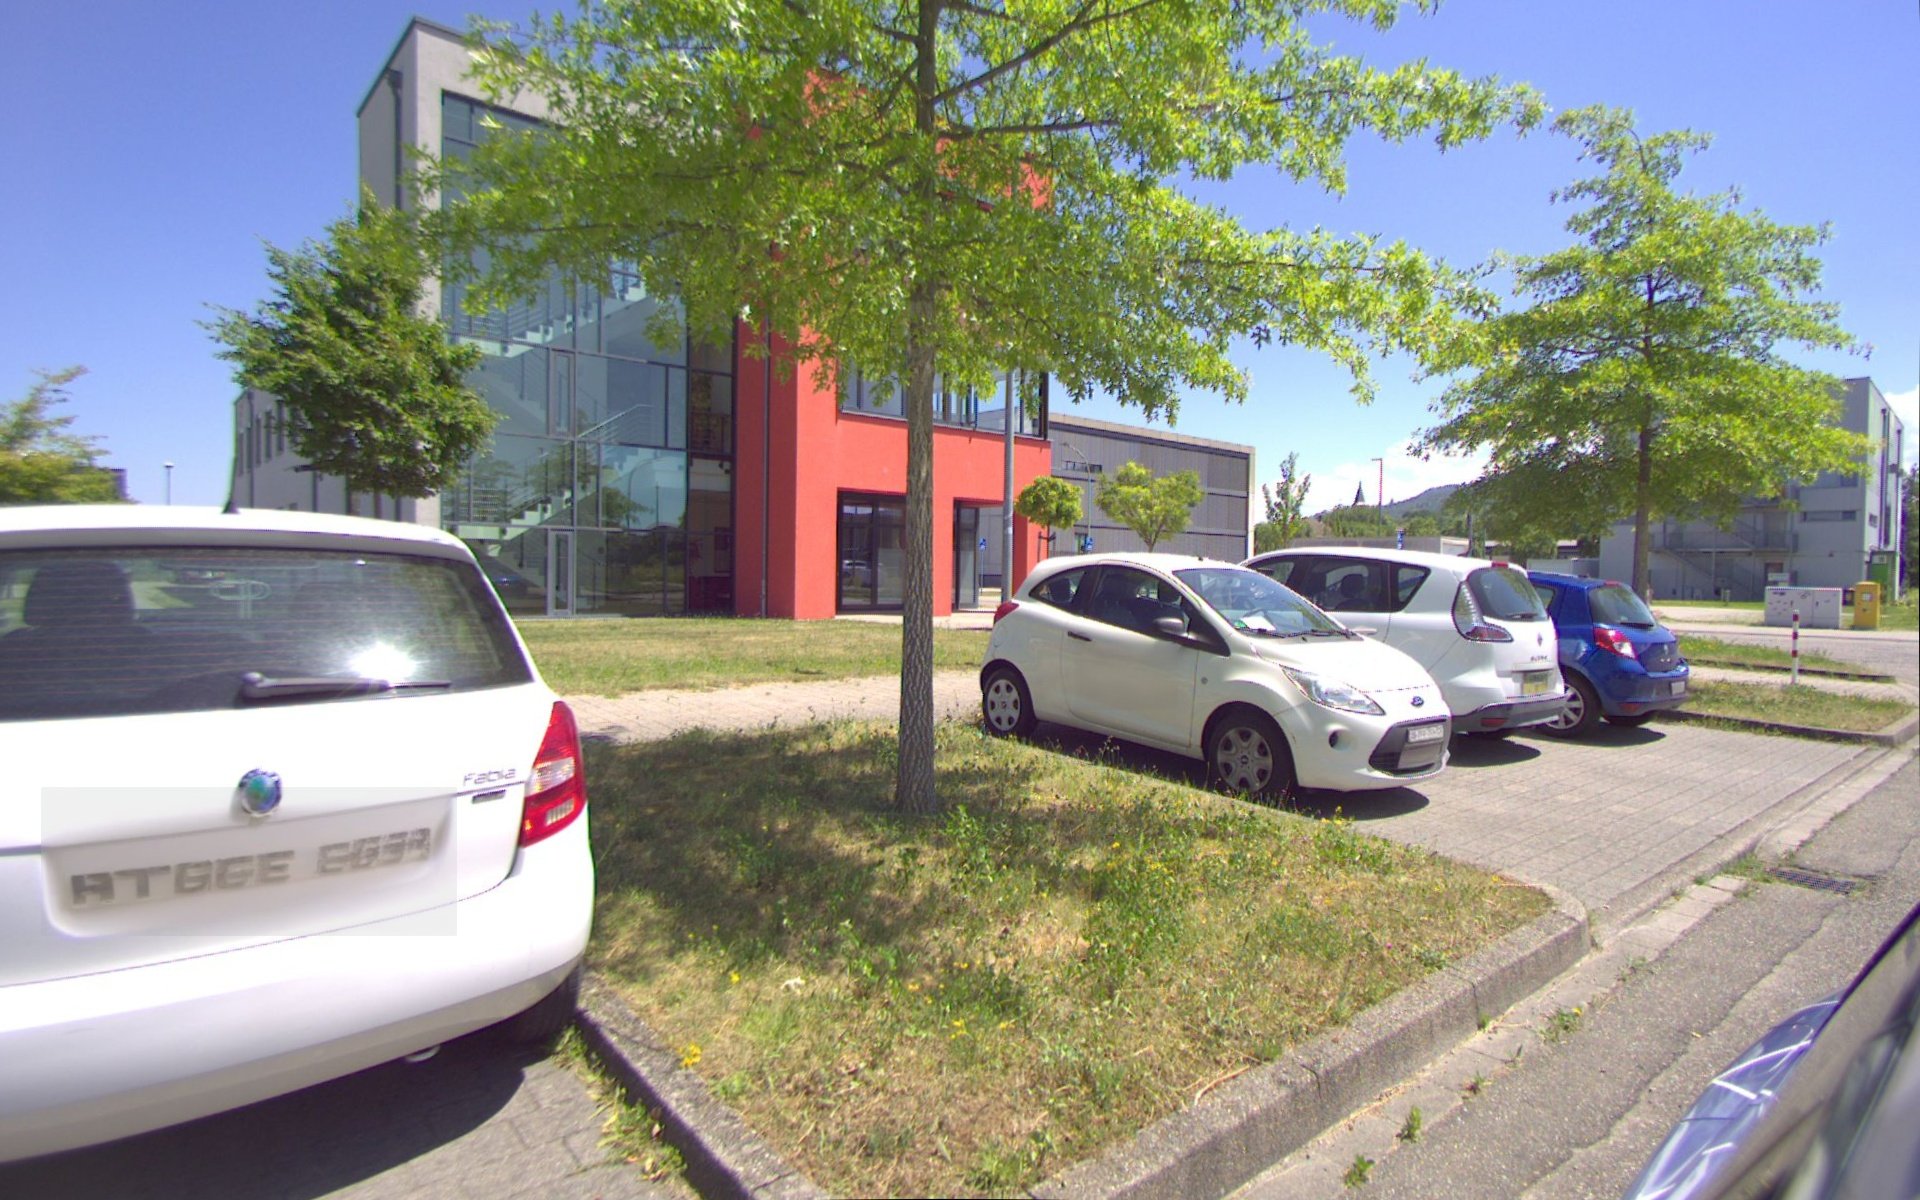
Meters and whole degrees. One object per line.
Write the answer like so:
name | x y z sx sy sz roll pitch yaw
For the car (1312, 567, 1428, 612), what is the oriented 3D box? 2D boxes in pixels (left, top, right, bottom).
car | 15.121 -0.436 37.412 1.655 1.518 3.622 -4 4 -41

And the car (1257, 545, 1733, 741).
car | 5.331 0.279 10.598 1.695 1.508 4.011 0 4 -36

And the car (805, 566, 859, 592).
car | -8.107 -1.359 63.938 1.631 1.487 3.622 -4 4 -41

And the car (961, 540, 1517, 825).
car | 1.758 0.361 7.344 1.581 1.481 3.629 0 3 -38

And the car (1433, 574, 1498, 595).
car | 37.547 -1.192 75.213 1.630 1.442 4.050 -1 2 -41

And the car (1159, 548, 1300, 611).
car | 8.412 -0.629 31.829 1.778 1.797 3.995 2 0 -40

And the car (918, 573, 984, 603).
car | -0.515 -0.673 55.191 1.631 1.487 3.622 -4 4 -41

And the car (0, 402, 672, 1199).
car | -2.604 0.350 3.387 1.748 1.543 3.843 -1 3 -40

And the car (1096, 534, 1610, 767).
car | 3.381 0.277 9.421 1.741 1.670 4.122 0 2 -38

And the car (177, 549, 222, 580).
car | -39.373 -1.866 52.379 1.689 1.528 3.996 -1 3 -40

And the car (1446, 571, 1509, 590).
car | 39.803 -1.507 77.888 1.630 1.404 4.050 -1 2 -41

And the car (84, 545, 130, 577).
car | -42.261 -1.938 50.159 1.689 1.528 3.996 -1 3 -40

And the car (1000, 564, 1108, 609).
car | 3.438 -0.516 37.301 1.757 1.460 3.700 3 0 -43

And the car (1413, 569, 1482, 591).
car | 34.517 -1.425 71.736 1.630 1.485 4.050 -1 2 -41

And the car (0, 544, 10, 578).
car | -45.236 -1.822 46.790 1.689 1.528 3.996 -1 3 -40

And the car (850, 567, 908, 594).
car | -4.854 -1.185 60.554 1.631 1.487 3.622 -4 4 -41

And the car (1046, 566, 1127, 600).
car | 5.880 -0.818 47.288 1.631 1.487 3.622 -4 4 -41
